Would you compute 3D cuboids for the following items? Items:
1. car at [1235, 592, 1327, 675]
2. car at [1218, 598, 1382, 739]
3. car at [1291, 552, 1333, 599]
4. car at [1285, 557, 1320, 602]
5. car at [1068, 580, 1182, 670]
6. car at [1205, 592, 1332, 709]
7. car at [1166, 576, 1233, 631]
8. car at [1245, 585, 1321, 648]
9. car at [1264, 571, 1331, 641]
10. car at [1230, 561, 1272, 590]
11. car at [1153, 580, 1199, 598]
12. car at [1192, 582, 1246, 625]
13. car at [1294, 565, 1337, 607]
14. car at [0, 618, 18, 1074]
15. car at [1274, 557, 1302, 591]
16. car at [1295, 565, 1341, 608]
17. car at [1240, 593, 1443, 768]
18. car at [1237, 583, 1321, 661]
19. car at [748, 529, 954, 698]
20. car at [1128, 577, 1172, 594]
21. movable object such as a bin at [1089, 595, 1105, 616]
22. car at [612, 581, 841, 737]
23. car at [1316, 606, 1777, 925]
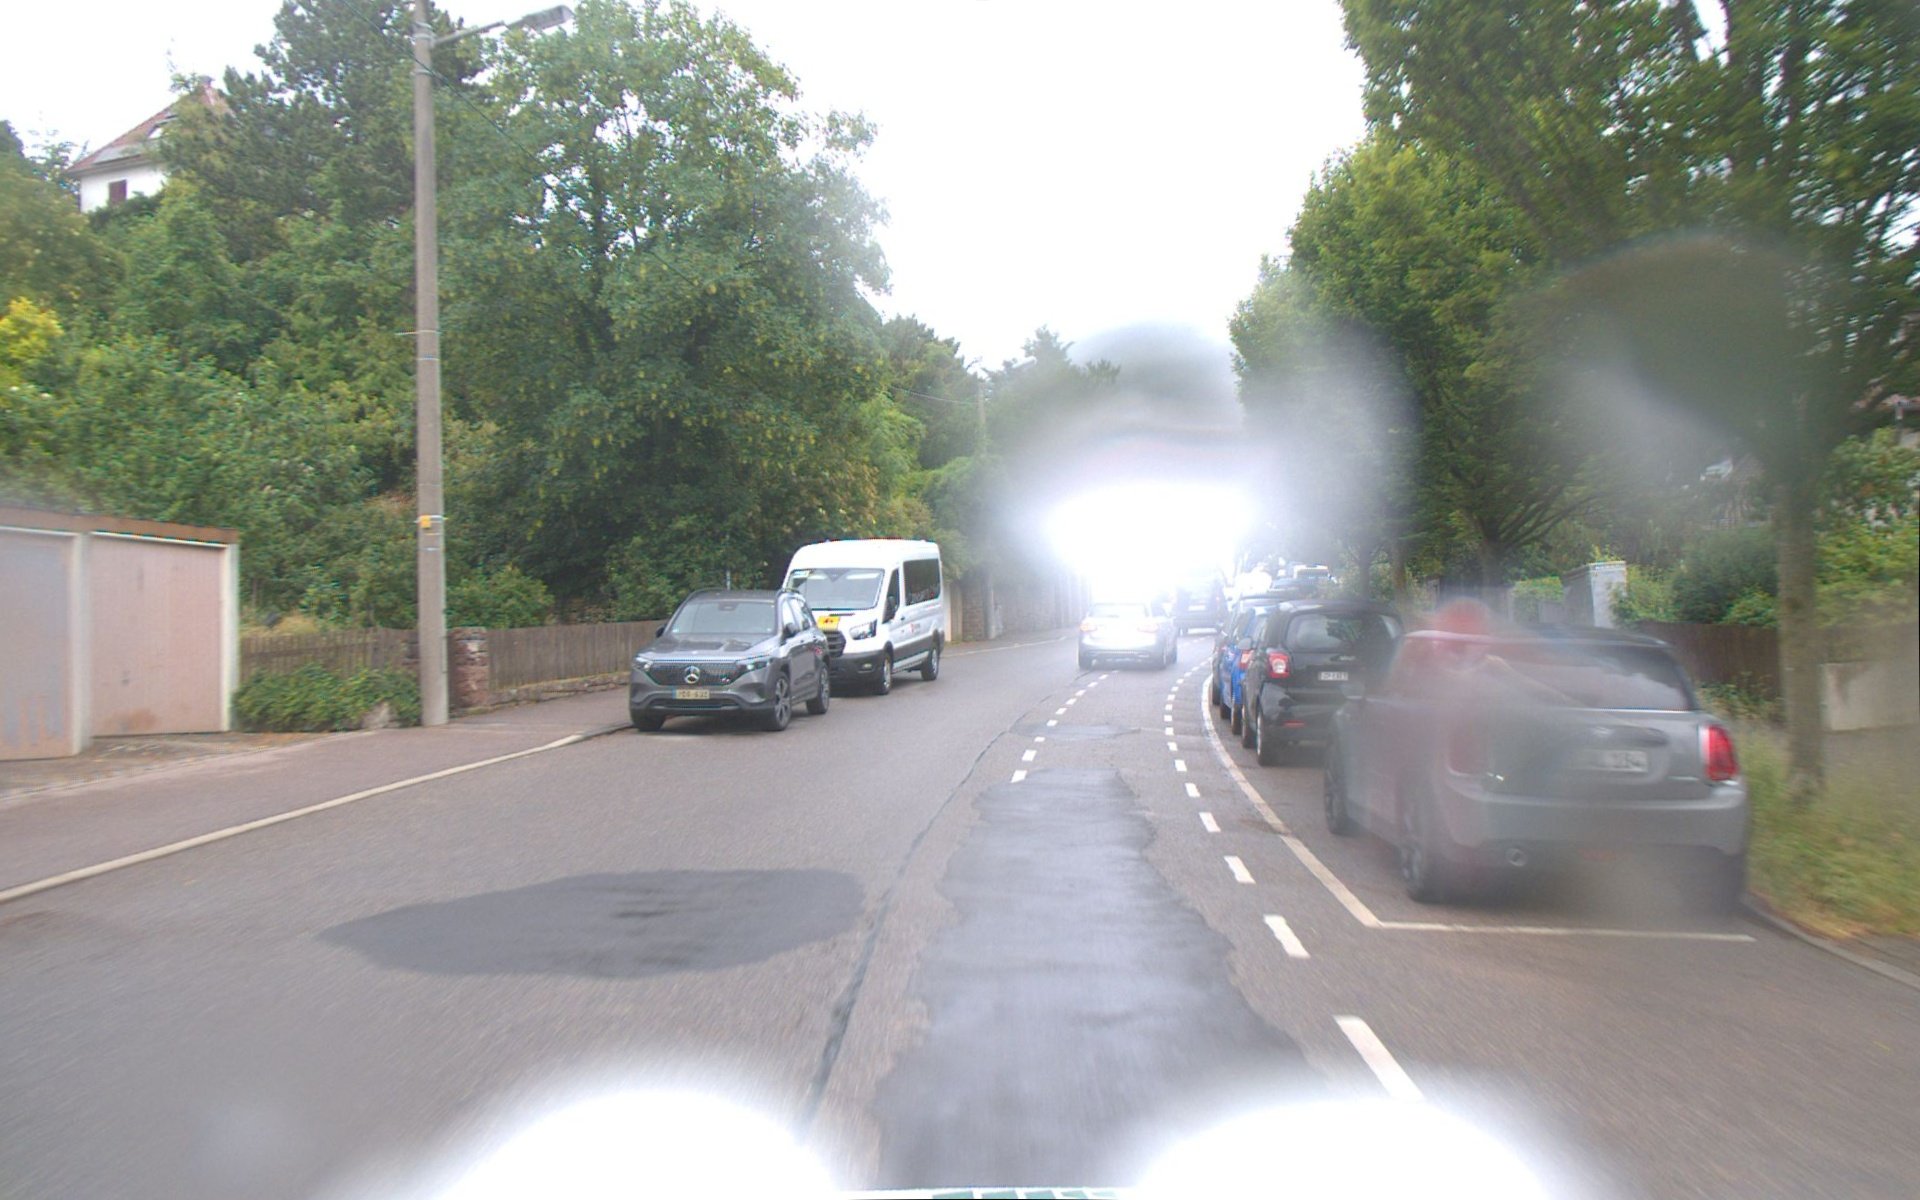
[{"bbox_3d":[6.218,0.594,32.065,1.608,1.449,4.292,1,1,11],"label":"car"},{"bbox_3d":[4.132,0.764,20.600,1.619,1.546,4.003,0,0,6],"label":"car"},{"bbox_3d":[19.733,-1.372,93.004,2.127,2.536,6.039,1,1,10],"label":"car"},{"bbox_3d":[23.138,-1.406,111.875,2.079,2.937,5.775,0,1,9],"label":"car"},{"bbox_3d":[3.485,0.490,34.310,1.982,1.738,4.219,0,0,11],"label":"car"},{"bbox_3d":[4.728,0.697,25.599,1.738,1.580,4.732,1,1,10],"label":"car"},{"bbox_3d":[7.840,0.117,54.429,1.951,1.738,4.002,0,0,5],"label":"car"},{"bbox_3d":[8.268,0.382,42.135,1.613,1.507,4.023,0,1,15],"label":"car"},{"bbox_3d":[9.651,0.124,47.075,1.740,1.884,4.429,0,1,13],"label":"car"},{"bbox_3d":[26.546,-2.224,150.949,2.090,2.571,4.480,0,1,-14],"label":"car"},{"bbox_3d":[21.241,-1.115,163.012,1.951,1.727,4.434,0,1,-39],"label":"car"},{"bbox_3d":[10.673,0.142,67.975,1.951,1.738,4.003,0,0,12],"label":"car"},{"bbox_3d":[18.338,-0.712,85.473,1.951,2.088,5.126,0,1,10],"label":"car"},{"bbox_3d":[-3.967,0.817,3.138,1.678,1.485,4.682,-1,0,0],"label":"car"},{"bbox_3d":[25.300,-2.028,127.554,2.020,2.538,4.764,0,1,10],"label":"car"},{"bbox_3d":[15.677,-0.615,72.531,1.742,1.814,4.683,-1,1,10],"label":"car"},{"bbox_3d":[3.738,0.727,16.617,1.592,1.590,3.024,0,0,5],"label":"car"},{"bbox_3d":[7.215,0.449,37.189,1.677,1.583,4.167,1,1,13],"label":"car"},{"bbox_3d":[-1.717,0.163,28.718,2.049,2.594,6.103,-1,1,11],"label":"car"},{"bbox_3d":[19.077,-1.470,166.230,1.948,1.727,4.613,0,1,-35],"label":"car"},{"bbox_3d":[6.390,0.241,77.129,0.644,0.935,0.678,-1,0,13],"label":"movable object such as a bin"},{"bbox_3d":[-2.821,0.657,21.036,1.856,1.721,4.548,-2,0,5],"label":"car"},{"bbox_3d":[3.255,0.809,9.923,1.633,1.496,3.712,1,0,4],"label":"car"}]
